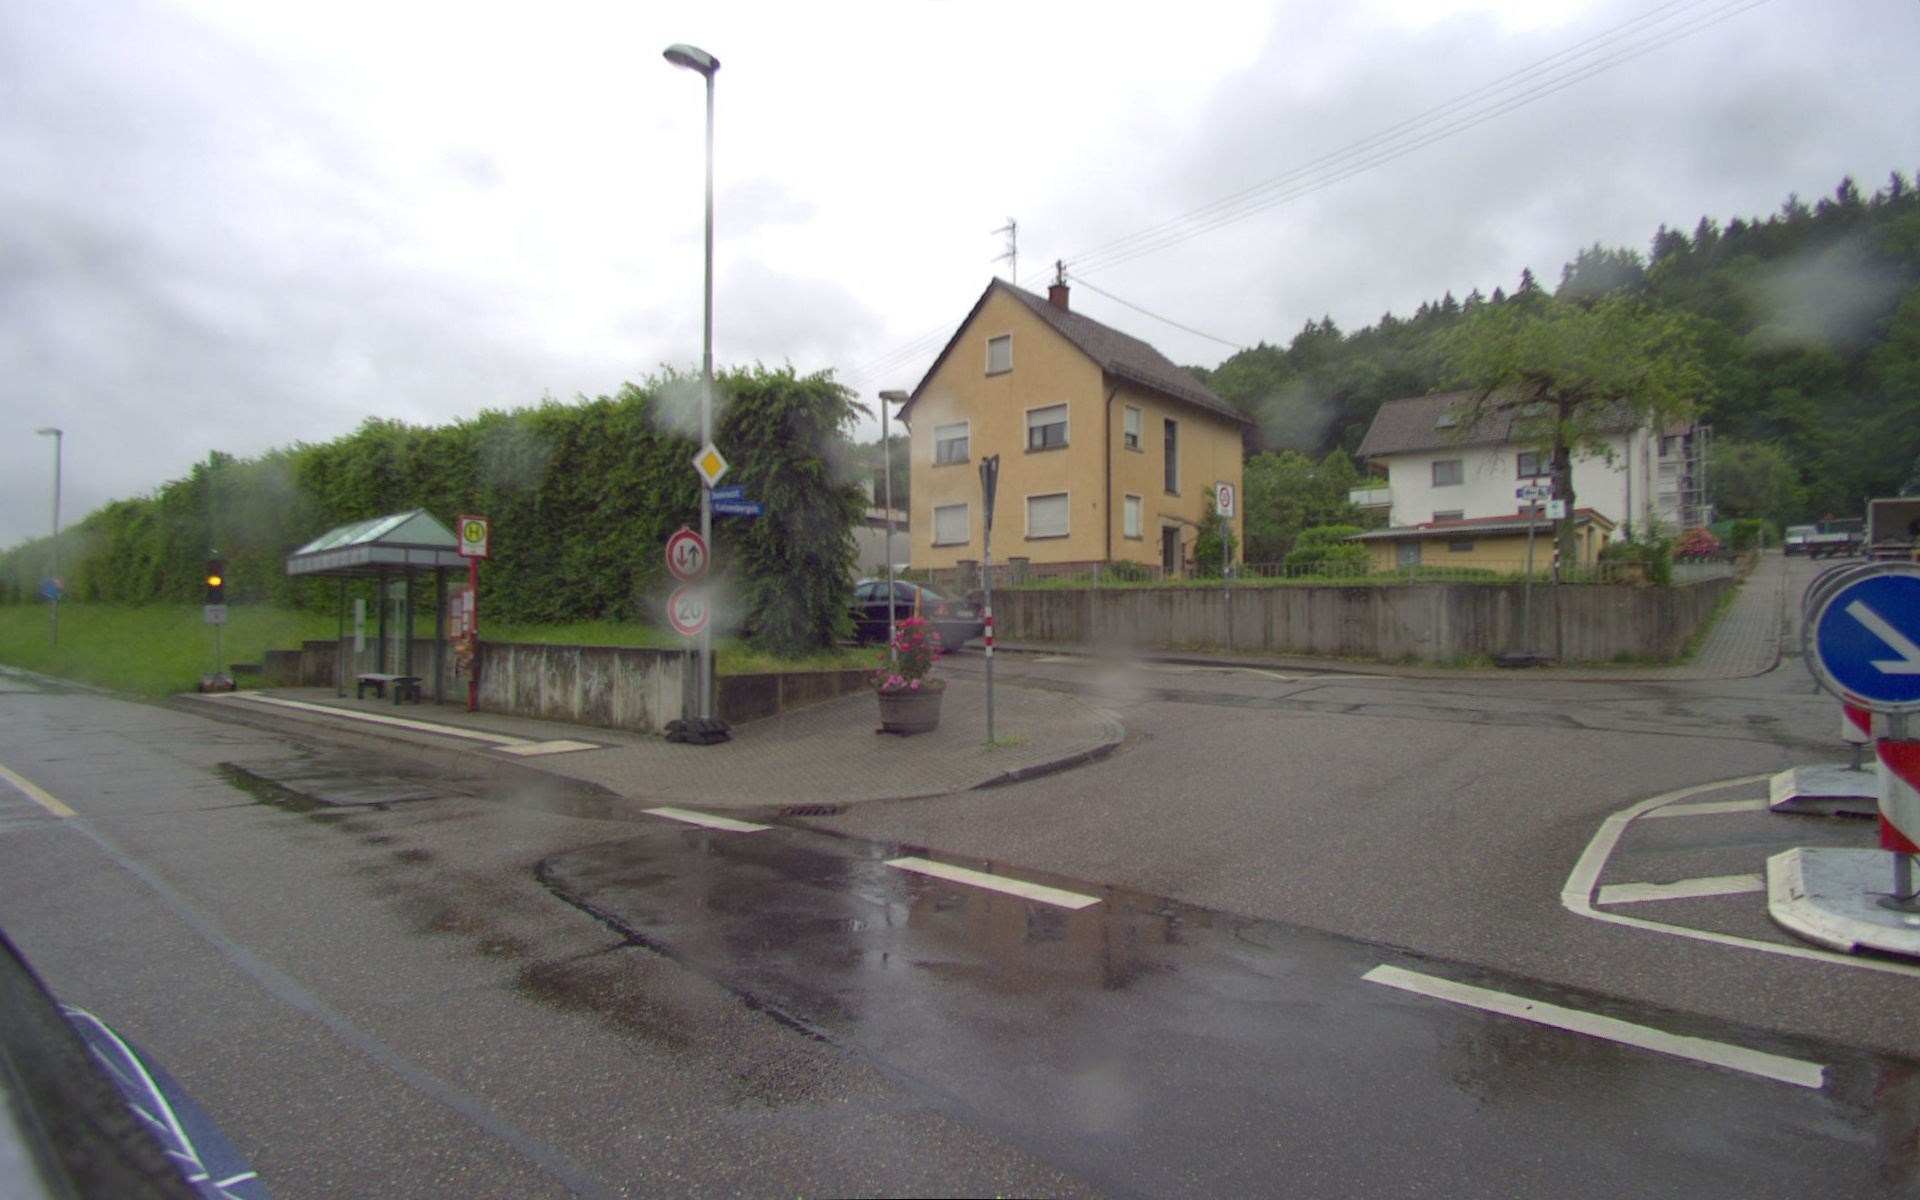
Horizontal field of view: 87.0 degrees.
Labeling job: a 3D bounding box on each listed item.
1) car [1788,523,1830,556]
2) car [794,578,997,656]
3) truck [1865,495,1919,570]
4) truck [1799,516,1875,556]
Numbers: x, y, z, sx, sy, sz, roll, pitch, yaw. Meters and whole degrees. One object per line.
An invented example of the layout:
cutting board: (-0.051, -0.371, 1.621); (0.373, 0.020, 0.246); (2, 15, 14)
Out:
car: (56.010, -3.978, 66.819); (1.913, 2.028, 3.950); (0, 2, 37)
car: (-1.426, 0.300, 21.180); (4.220, 1.399, 1.726); (2, 1, 41)
truck: (45.376, -3.184, 48.803); (2.452, 3.377, 6.567); (-1, 1, 41)
truck: (51.661, -3.710, 59.572); (5.983, 2.142, 2.305); (-2, 1, -39)
